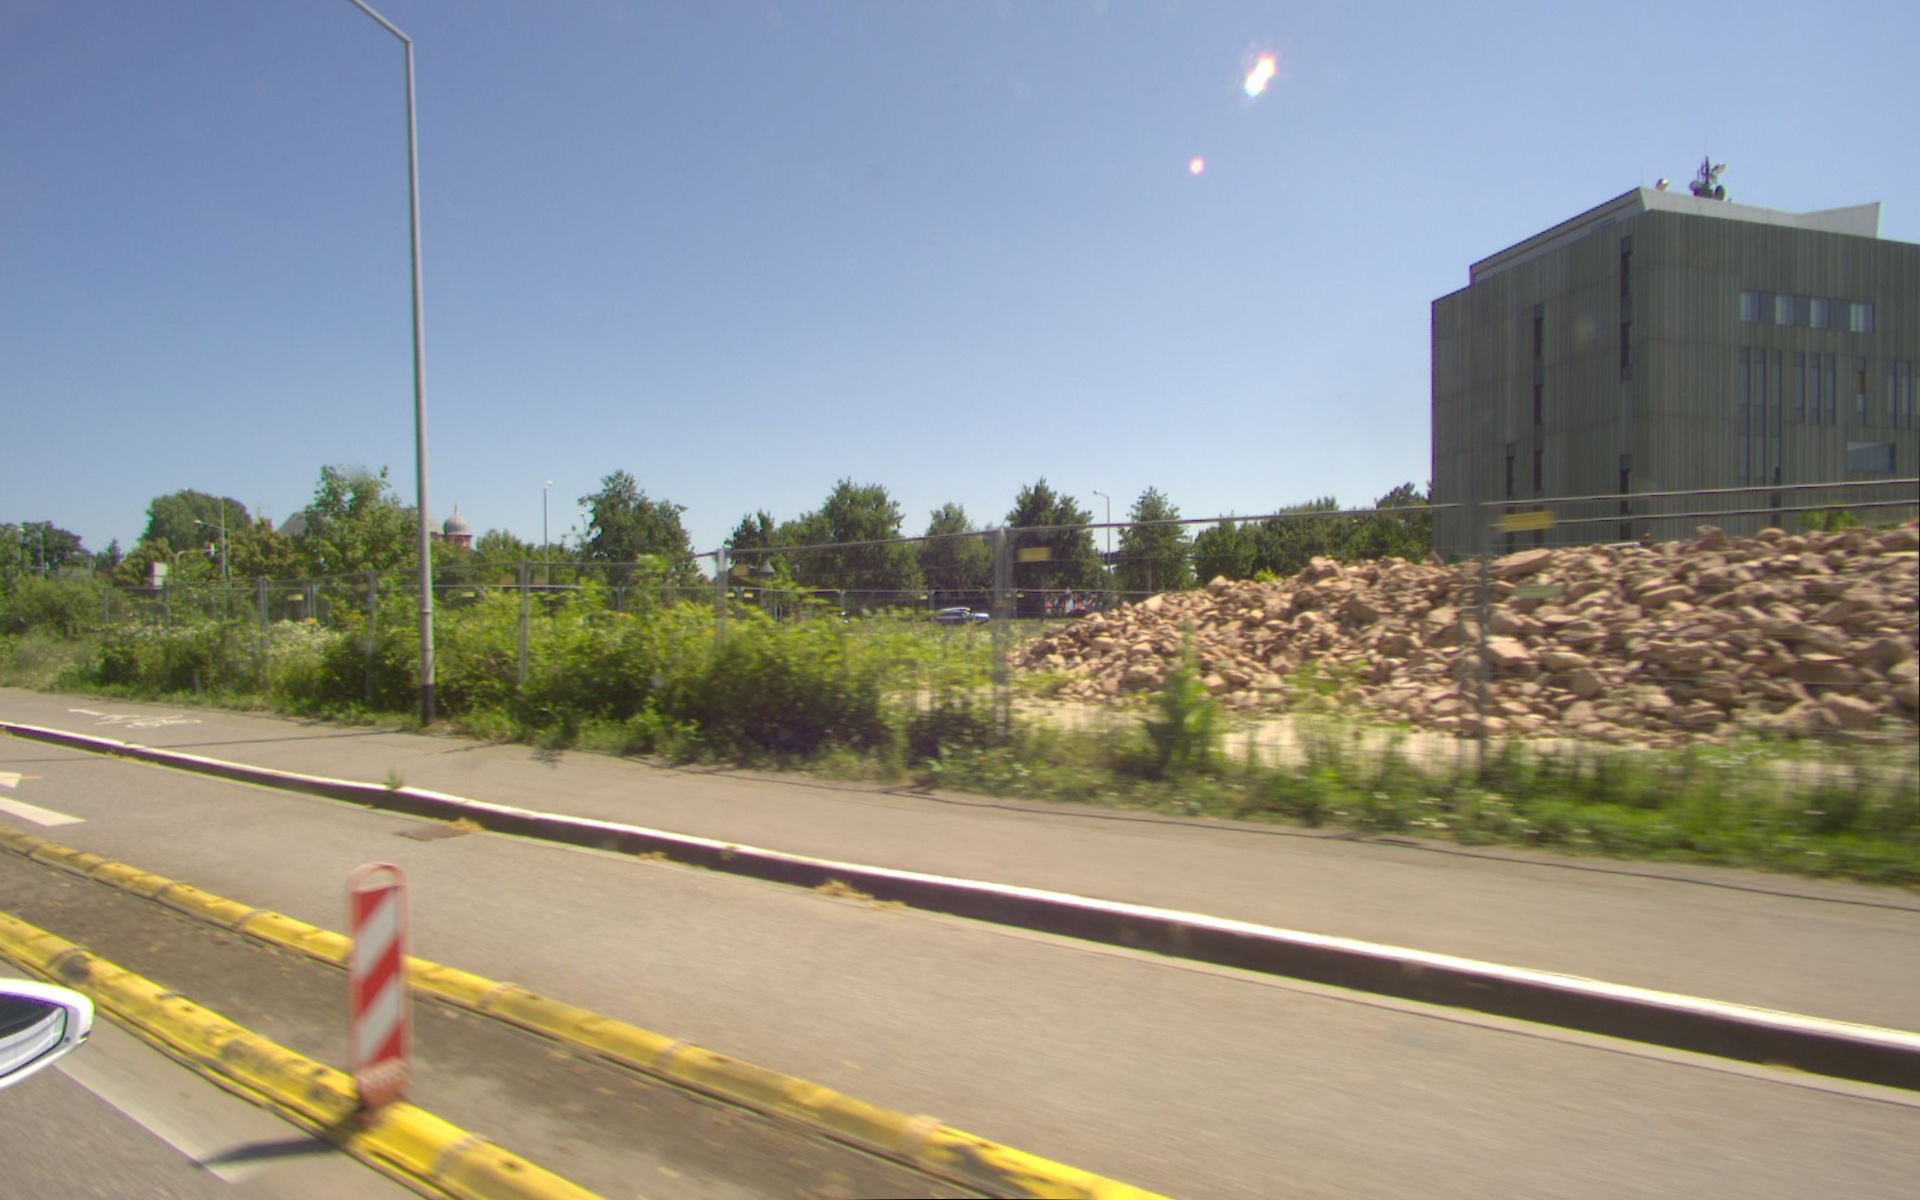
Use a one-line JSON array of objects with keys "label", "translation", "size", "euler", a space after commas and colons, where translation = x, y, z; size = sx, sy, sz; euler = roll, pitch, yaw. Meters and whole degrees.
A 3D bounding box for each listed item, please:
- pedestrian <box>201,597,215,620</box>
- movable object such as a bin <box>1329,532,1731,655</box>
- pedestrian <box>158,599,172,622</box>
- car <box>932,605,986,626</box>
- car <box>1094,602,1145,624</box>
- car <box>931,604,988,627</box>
[{"label": "pedestrian", "translation": [-43.554, 0.512, 57.989], "size": [0.538, 1.328, 0.602], "euler": [-1, 1, -26]}, {"label": "movable object such as a bin", "translation": [17.535, -0.129, 31.683], "size": [10.316, 3.303, 4.930], "euler": [-1, 0, 31]}, {"label": "pedestrian", "translation": [-45.461, 0.593, 57.256], "size": [0.597, 1.328, 0.542], "euler": [-1, 1, -37]}, {"label": "car", "translation": [-0.064, 1.214, 78.670], "size": [3.926, 1.606, 1.882], "euler": [-1, 0, -12]}, {"label": "car", "translation": [12.467, 0.991, 78.409], "size": [3.575, 1.639, 1.840], "euler": [-1, 0, -12]}, {"label": "car", "translation": [-0.064, 1.136, 75.080], "size": [3.983, 1.639, 1.840], "euler": [-1, 0, -12]}]
